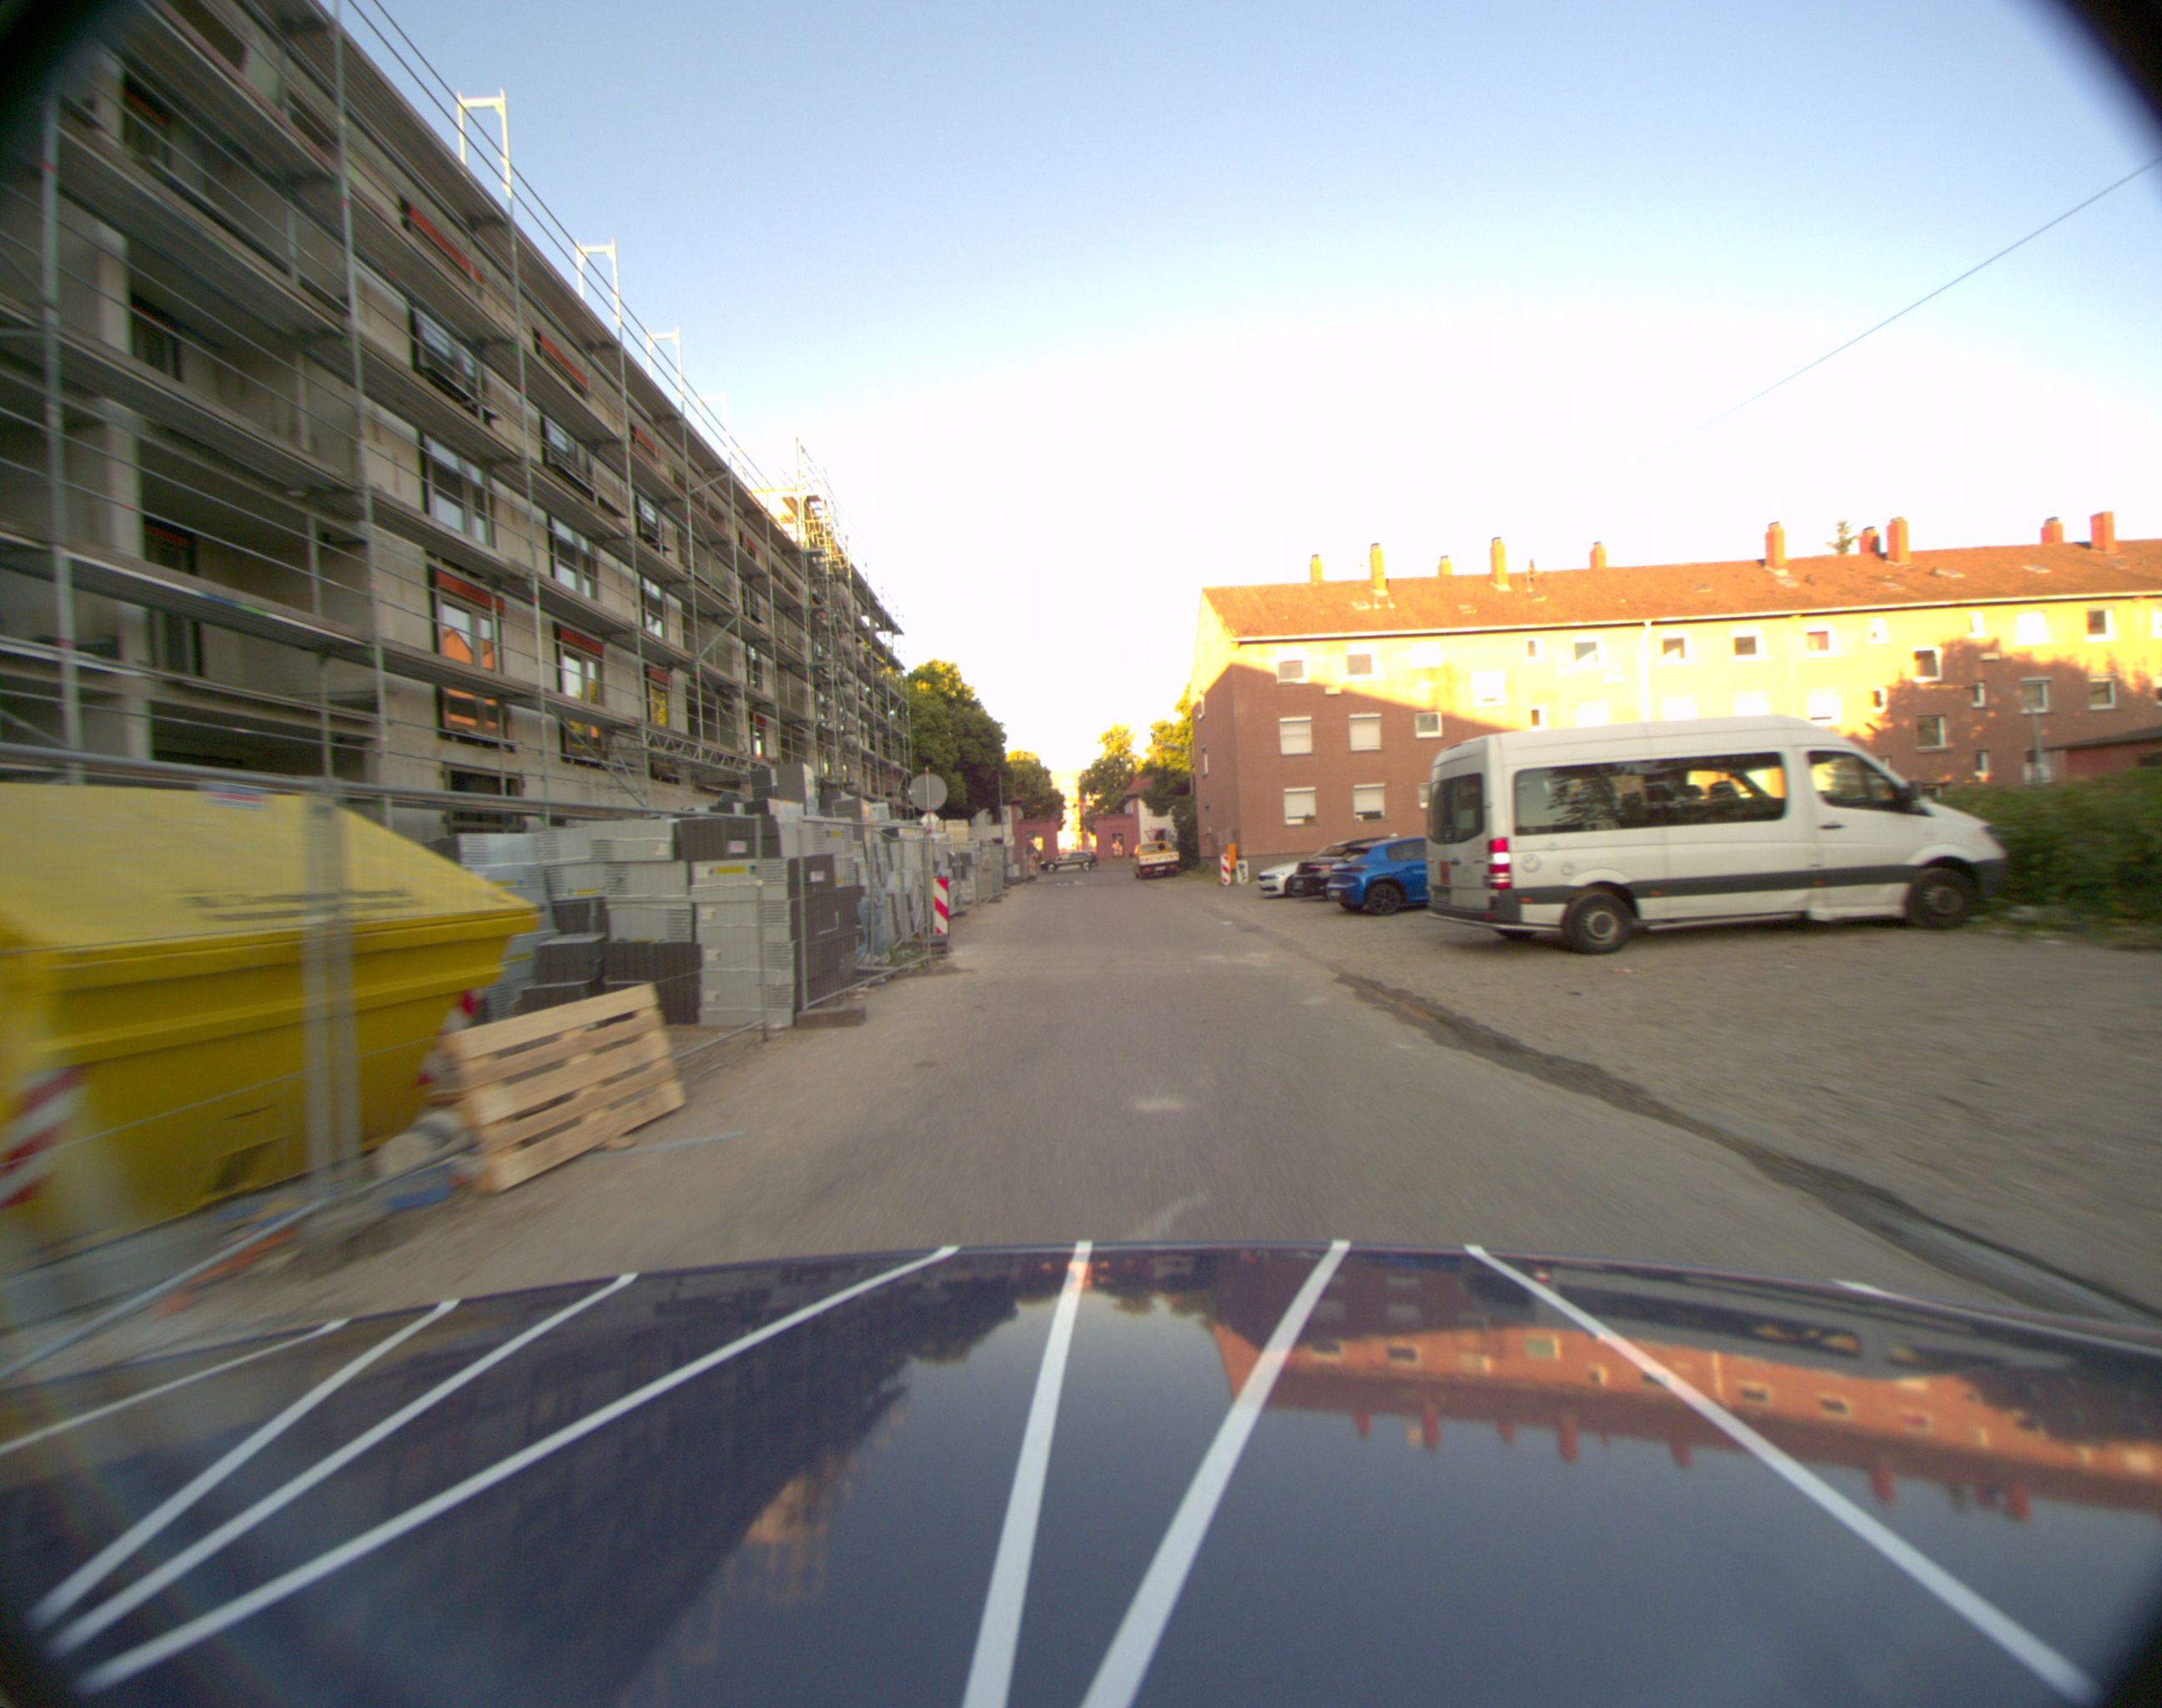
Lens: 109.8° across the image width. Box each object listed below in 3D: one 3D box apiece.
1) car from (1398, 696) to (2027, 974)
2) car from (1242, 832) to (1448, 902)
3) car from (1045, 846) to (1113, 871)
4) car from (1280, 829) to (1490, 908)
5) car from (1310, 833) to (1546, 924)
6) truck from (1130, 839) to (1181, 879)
[{"bbox_3d":[7.297,-0.196,9.377,5.702,2.611,2.222,-4,1,2],"label":"car"},{"bbox_3d":[7.382,0.345,21.586,5.008,1.535,2.115,-4,1,-4],"label":"car"},{"bbox_3d":[-0.142,0.315,60.745,5.304,1.654,1.816,-3,1,0],"label":"car"},{"bbox_3d":[7.396,0.335,18.732,4.428,1.535,1.727,-4,1,-4],"label":"car"},{"bbox_3d":[6.789,0.447,15.115,3.847,1.421,1.727,-4,1,-3],"label":"car"},{"bbox_3d":[3.989,0.207,41.427,2.039,1.902,5.660,-4,1,0],"label":"truck"}]
